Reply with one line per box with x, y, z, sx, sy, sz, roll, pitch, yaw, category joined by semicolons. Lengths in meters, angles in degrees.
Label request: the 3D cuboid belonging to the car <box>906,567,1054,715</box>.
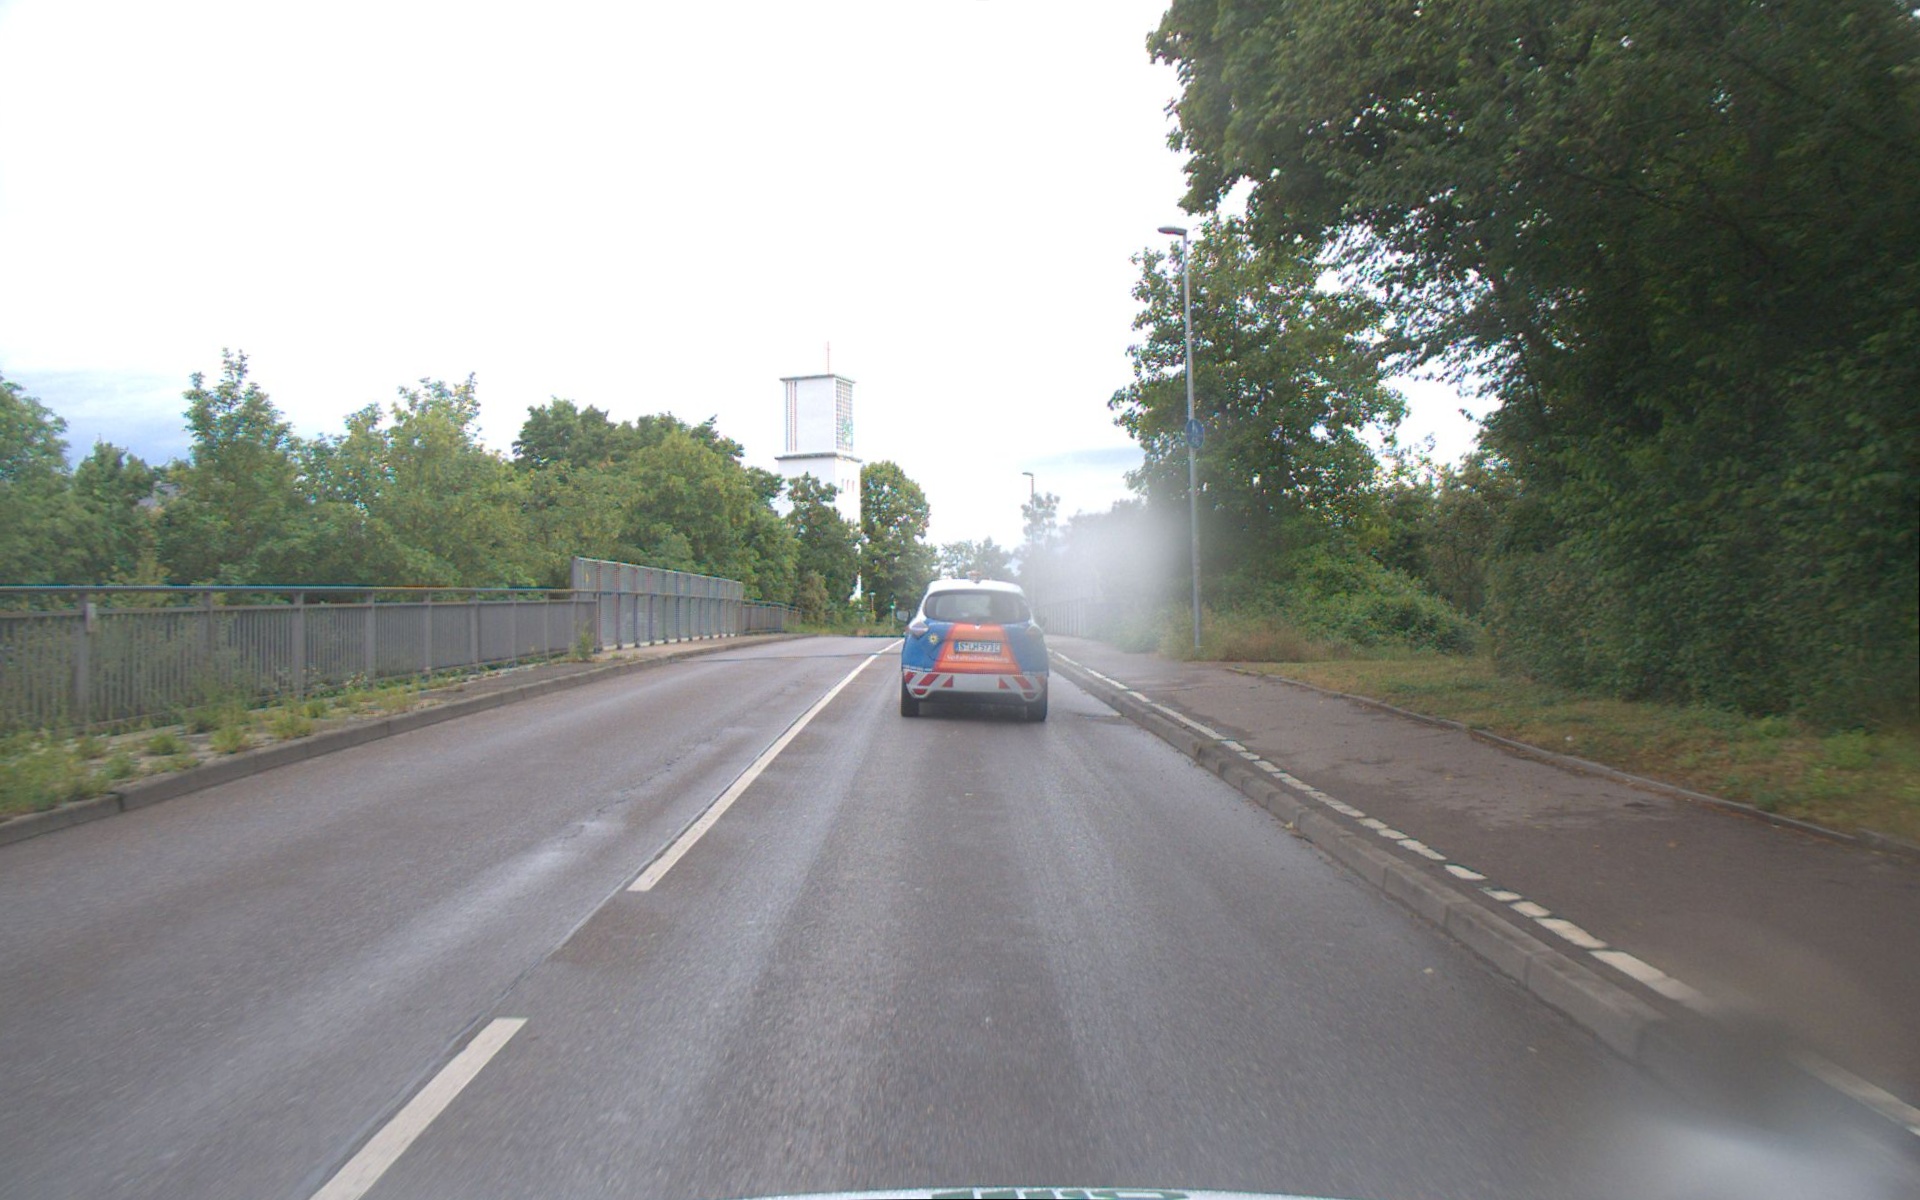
0.196;0.449;19.907;1.623;1.621;3.567;0;0;-1;car

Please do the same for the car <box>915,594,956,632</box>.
-1.143;0.579;75.338;1.766;1.618;3.561;-1;0;-2;car
